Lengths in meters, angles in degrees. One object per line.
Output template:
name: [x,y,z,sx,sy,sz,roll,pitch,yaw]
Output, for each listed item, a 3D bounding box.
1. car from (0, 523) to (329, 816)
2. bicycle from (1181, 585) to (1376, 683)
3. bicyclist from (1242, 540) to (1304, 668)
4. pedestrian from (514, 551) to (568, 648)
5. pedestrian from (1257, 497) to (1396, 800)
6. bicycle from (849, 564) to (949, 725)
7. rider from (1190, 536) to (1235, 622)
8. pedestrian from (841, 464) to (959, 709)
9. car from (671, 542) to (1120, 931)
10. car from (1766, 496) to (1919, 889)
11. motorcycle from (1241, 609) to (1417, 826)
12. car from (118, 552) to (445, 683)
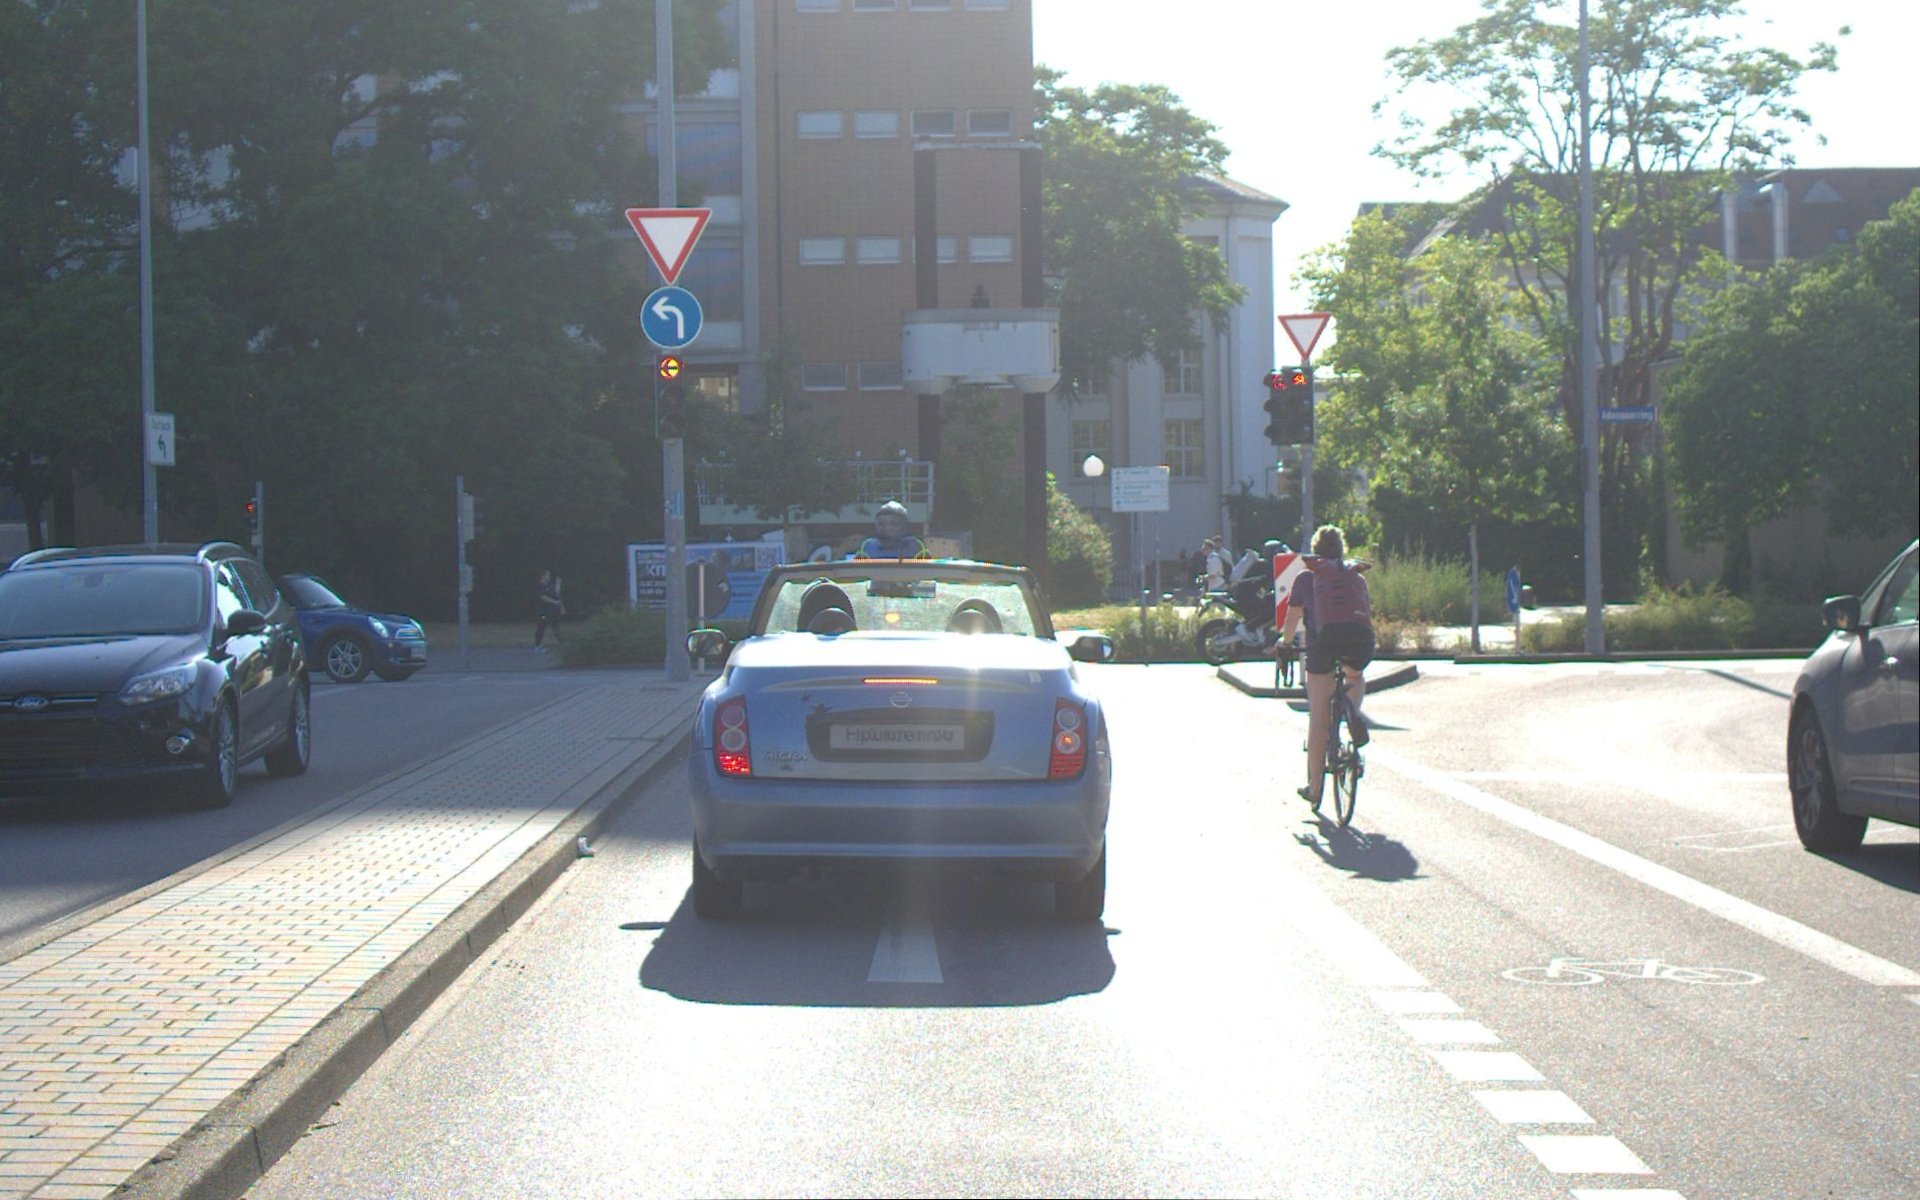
car: [-4.969,0.349,20.332,1.799,1.525,4.000,-2,1,-2]
bicycle: [3.995,0.422,43.147,2.407,1.187,0.610,1,0,6]
bicyclist: [3.931,0.048,43.158,0.751,1.593,0.589,1,0,6]
pedestrian: [-8.152,-0.007,66.945,0.870,1.862,0.660,1,0,11]
pedestrian: [1.979,0.258,18.660,0.587,1.593,1.025,1,0,-2]
bicycle: [-0.457,0.332,26.779,0.608,1.187,2.414,1,0,3]
rider: [4.738,-0.397,64.458,0.752,1.593,0.589,1,0,11]
pedestrian: [-0.460,-0.101,26.773,0.833,1.862,0.921,1,0,3]
car: [-0.340,0.516,14.935,1.660,1.436,4.155,1,0,-3]
car: [5.032,0.408,15.218,1.831,1.683,4.369,1,0,-1]
motorcycle: [1.978,0.602,18.718,0.613,1.094,2.360,1,0,-2]
car: [-8.462,0.214,43.022,3.639,1.555,1.649,-1,1,9]
